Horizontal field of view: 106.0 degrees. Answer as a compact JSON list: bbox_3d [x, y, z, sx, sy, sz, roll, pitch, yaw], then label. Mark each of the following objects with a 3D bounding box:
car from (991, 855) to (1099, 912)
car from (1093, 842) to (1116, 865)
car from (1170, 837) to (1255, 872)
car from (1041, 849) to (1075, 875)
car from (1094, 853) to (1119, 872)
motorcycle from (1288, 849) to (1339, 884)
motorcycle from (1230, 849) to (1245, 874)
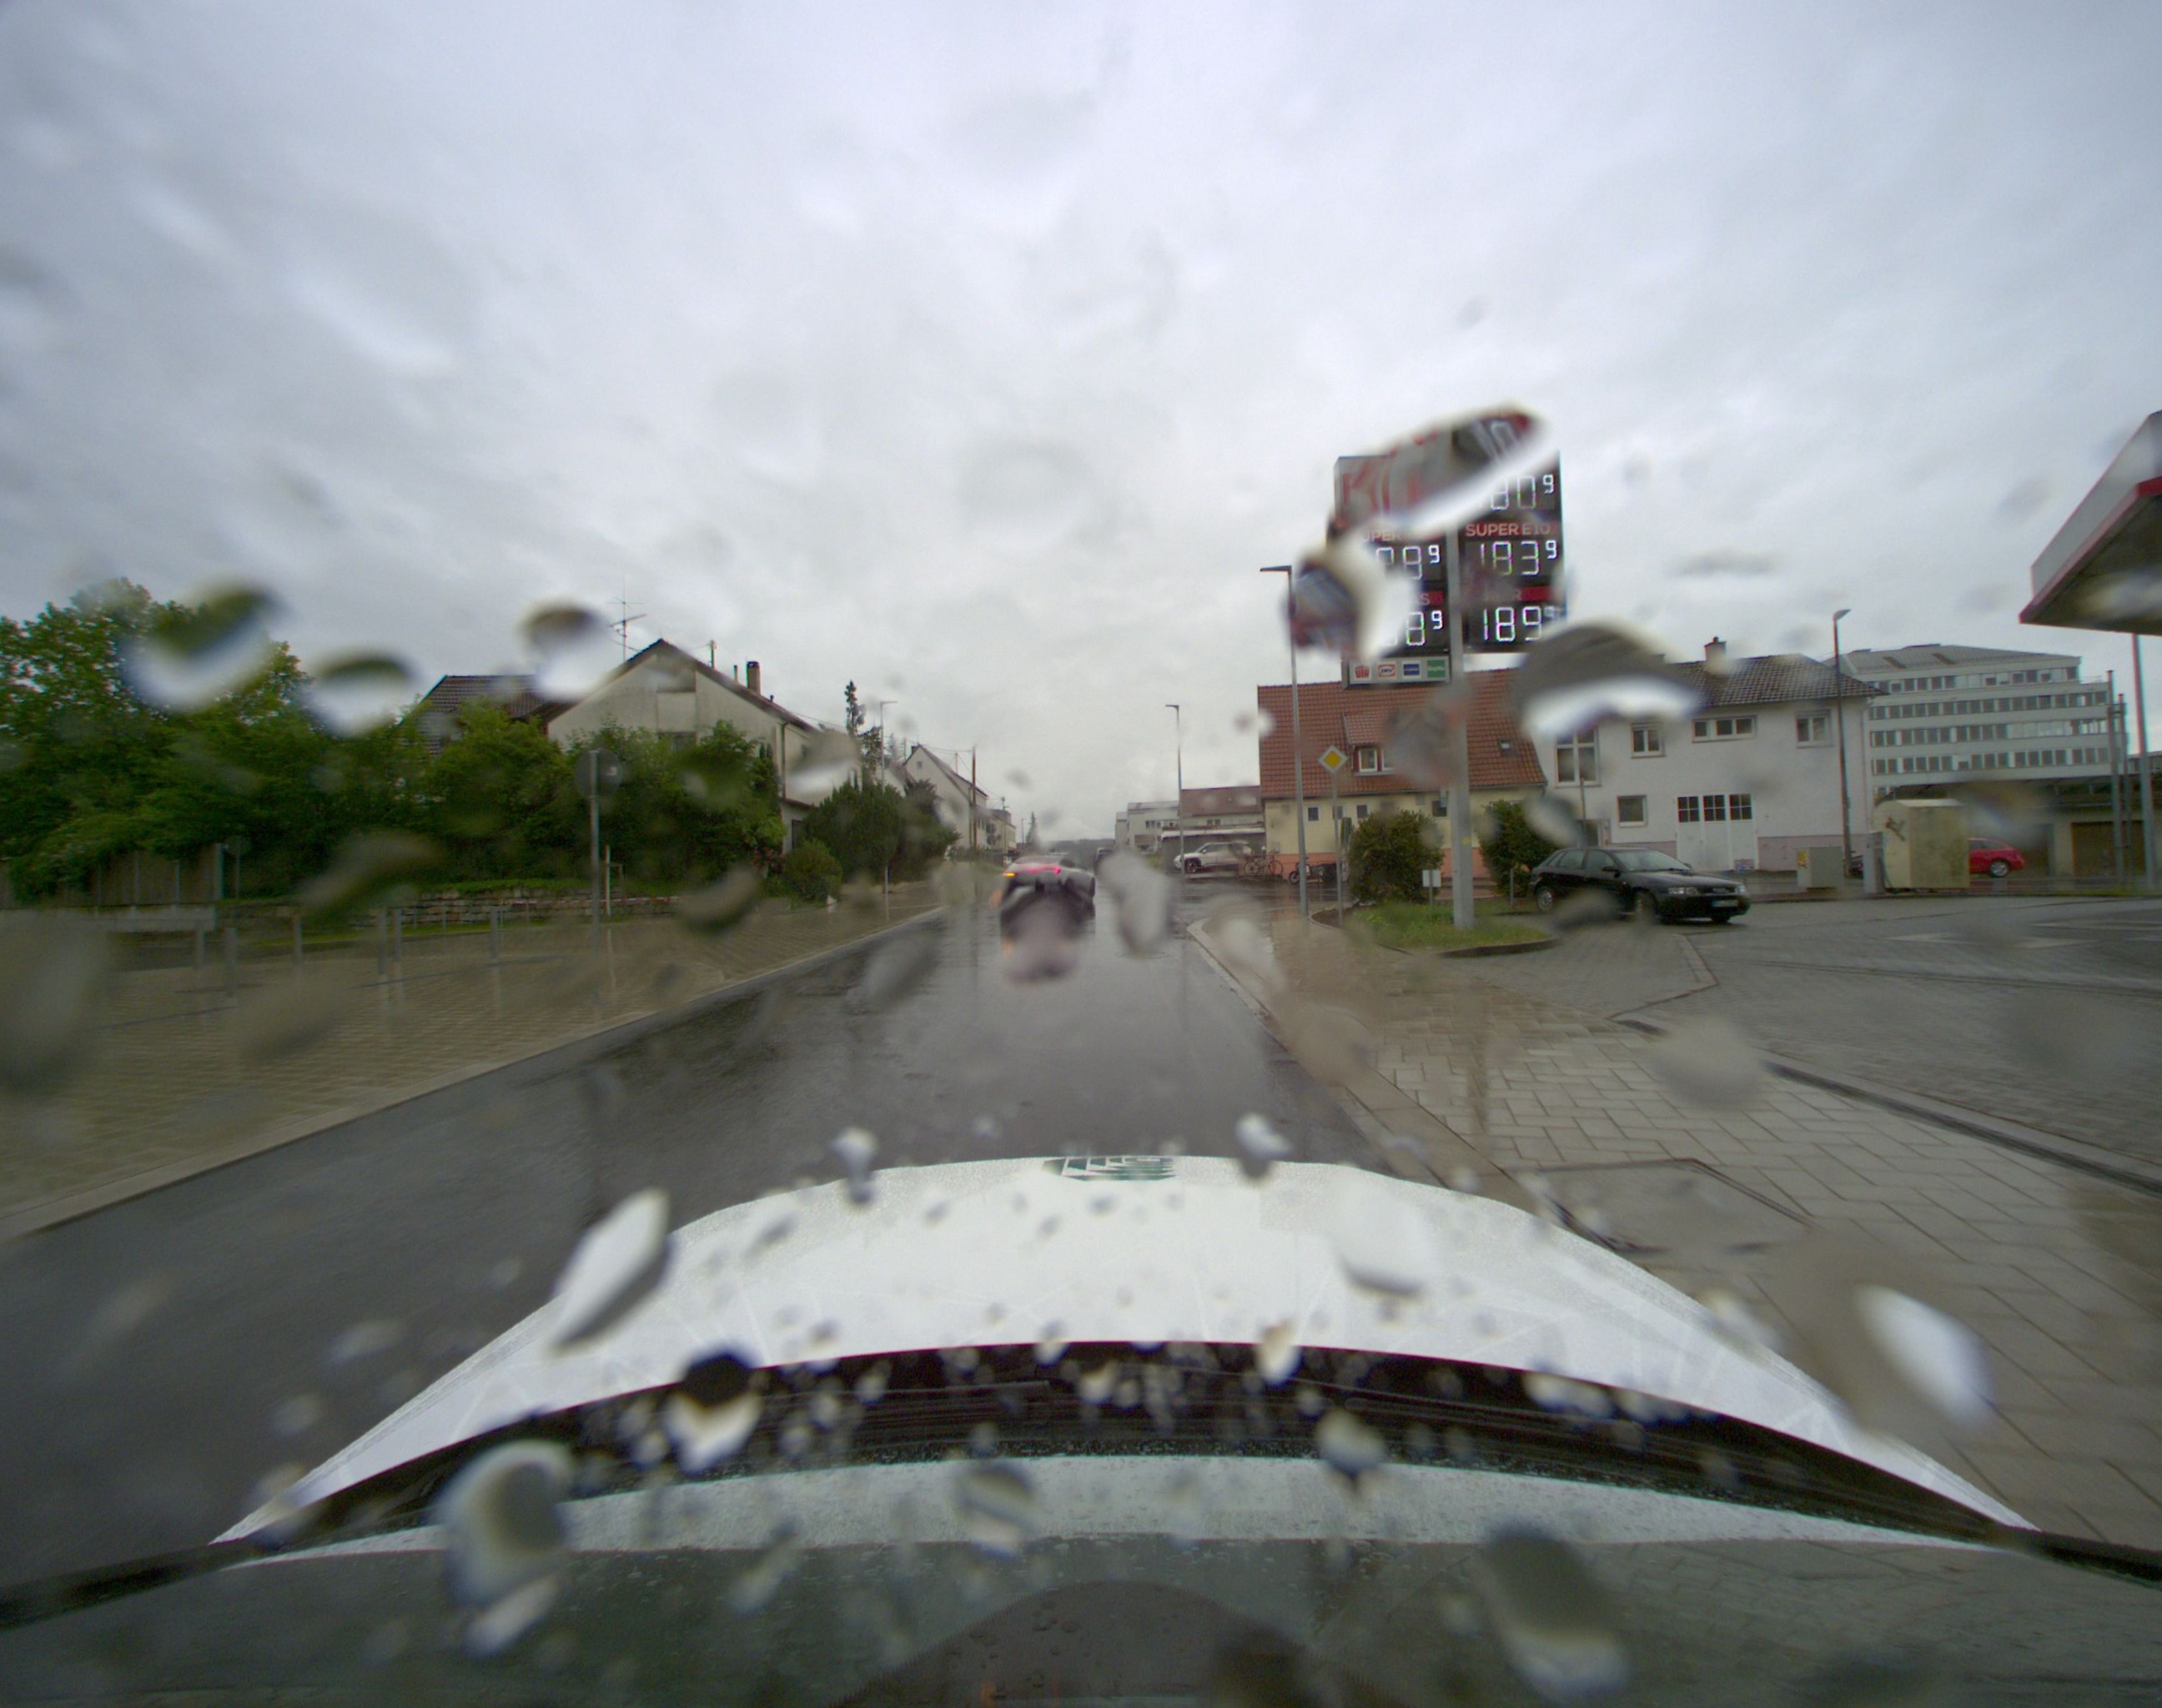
[{"bbox_3d":[-0.949,0.819,24.716,1.979,1.502,4.687,-2,0,14],"label":"car"},{"bbox_3d":[1.926,-0.018,66.951,1.762,1.825,4.574,-1,0,1],"label":"car"},{"bbox_3d":[7.039,0.034,43.799,4.204,1.610,1.860,-4,-1,-1],"label":"car"},{"bbox_3d":[-1.384,0.515,51.265,1.922,1.539,4.321,-1,0,1],"label":"car"},{"bbox_3d":[1.857,0.598,60.008,1.762,1.336,4.321,-1,0,1],"label":"car"},{"bbox_3d":[9.899,0.544,34.719,2.018,1.456,0.491,-1,-1,13],"label":"motorcycle"},{"bbox_3d":[7.292,0.331,38.051,0.485,1.096,2.003,-1,1,5],"label":"motorcycle"}]
